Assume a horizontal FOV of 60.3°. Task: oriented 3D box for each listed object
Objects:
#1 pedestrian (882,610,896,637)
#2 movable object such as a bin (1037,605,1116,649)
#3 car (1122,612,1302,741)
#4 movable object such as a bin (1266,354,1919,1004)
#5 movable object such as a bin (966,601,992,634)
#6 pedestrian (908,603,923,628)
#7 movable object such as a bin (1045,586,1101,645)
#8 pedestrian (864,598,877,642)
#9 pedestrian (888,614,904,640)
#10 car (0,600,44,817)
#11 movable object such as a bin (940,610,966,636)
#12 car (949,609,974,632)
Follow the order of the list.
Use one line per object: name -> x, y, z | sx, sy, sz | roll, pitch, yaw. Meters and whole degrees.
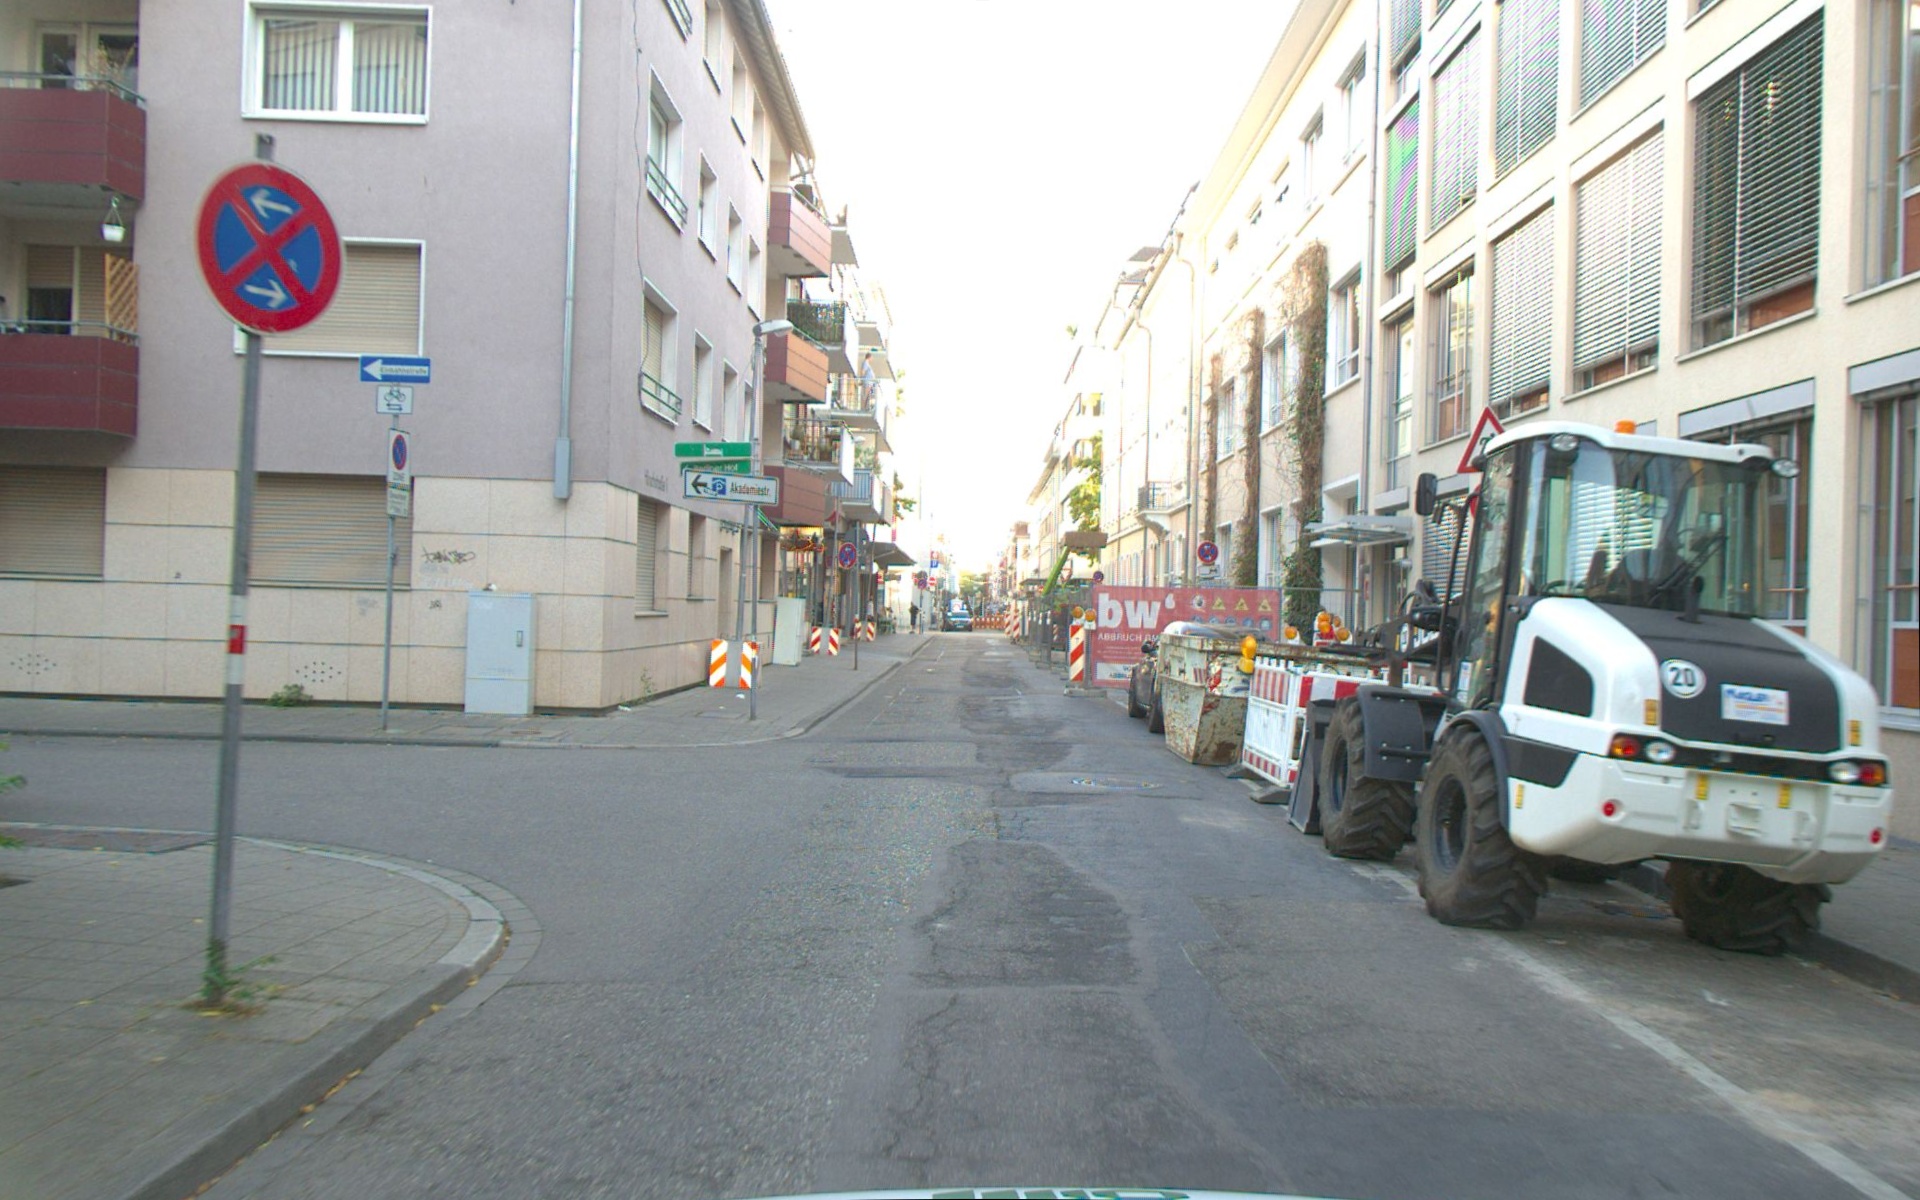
pedestrian -> -3.499, 1.158, 81.375 | 0.561, 1.298, 0.713 | 3, 0, 0
movable object such as a bin -> 4.801, 1.099, 69.506 | 2.680, 1.667, 7.551 | 2, 0, -1
car -> 3.350, 0.966, 22.792 | 1.751, 1.497, 4.446 | 4, 0, 0
movable object such as a bin -> 3.402, 0.334, 9.977 | 1.975, 2.668, 5.751 | 4, 0, 1
movable object such as a bin -> 1.627, 1.496, 142.896 | 2.112, 2.710, 4.572 | 1, -1, 0
pedestrian -> -2.364, 0.839, 87.790 | 0.687, 1.298, 0.713 | 2, -1, 0
movable object such as a bin -> 5.698, 0.781, 83.819 | 2.551, 2.889, 4.450 | 1, -1, 1
pedestrian -> -3.836, 0.837, 70.934 | 0.520, 1.866, 0.562 | 1, 0, -6
pedestrian -> -3.239, 1.360, 83.689 | 0.687, 1.298, 0.713 | 3, 0, 0
car -> -8.789, 0.694, 11.058 | 4.282, 1.508, 1.726 | 1, -1, -2
movable object such as a bin -> -0.562, 1.860, 132.791 | 1.952, 2.049, 4.000 | 1, 0, 1
car -> 0.121, 1.469, 117.549 | 1.597, 1.578, 3.140 | 1, 0, -3
